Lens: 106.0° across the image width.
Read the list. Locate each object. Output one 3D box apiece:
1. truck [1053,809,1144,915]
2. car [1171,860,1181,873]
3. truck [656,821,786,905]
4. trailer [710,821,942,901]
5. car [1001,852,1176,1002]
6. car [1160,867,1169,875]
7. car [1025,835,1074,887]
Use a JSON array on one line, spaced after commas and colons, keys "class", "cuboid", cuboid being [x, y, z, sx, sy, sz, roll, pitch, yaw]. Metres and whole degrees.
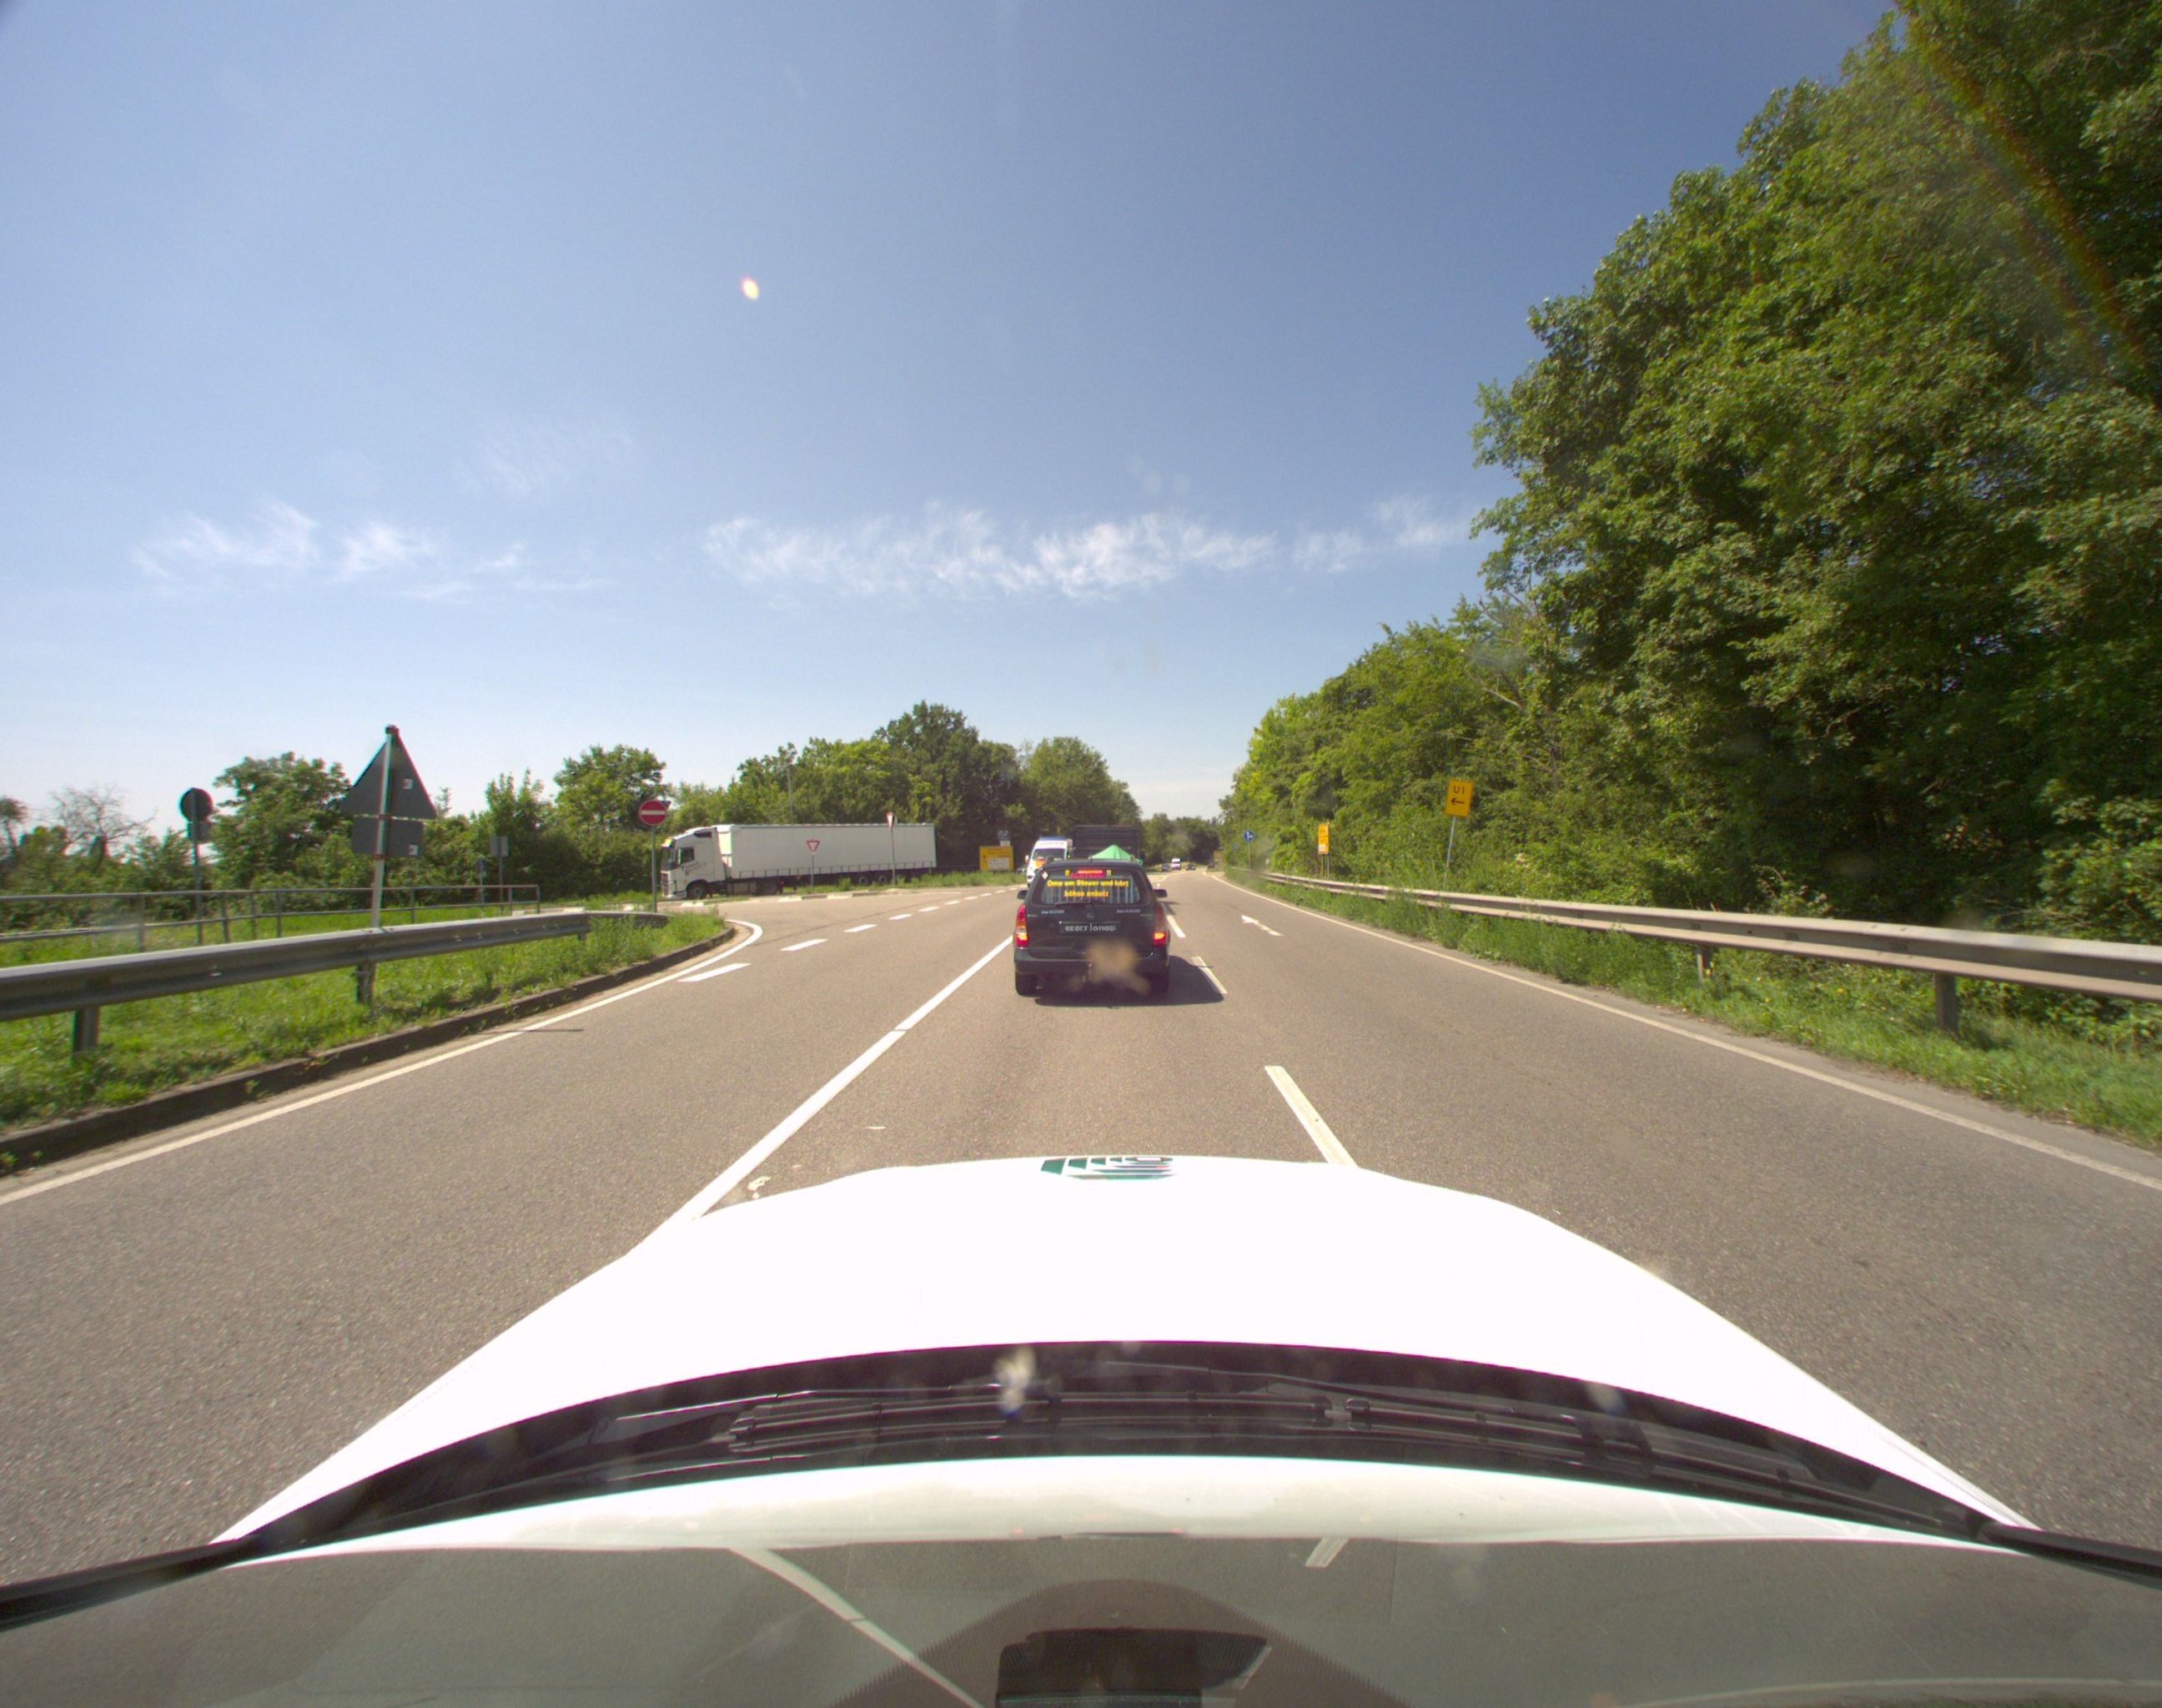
[{"class": "truck", "cuboid": [0.675, 0.207, 23.201, 2.129, 2.565, 6.648, -1, 0, 5]}, {"class": "car", "cuboid": [21.022, 2.739, 179.888, 2.094, 2.850, 6.022, -1, -1, 6]}, {"class": "truck", "cuboid": [-19.573, 0.366, 44.418, 5.954, 4.275, 2.966, -2, 1, -36]}, {"class": "trailer", "cuboid": [-14.828, 0.193, 49.348, 2.960, 4.275, 13.878, 0, 1, 41]}, {"class": "car", "cuboid": [0.172, 0.717, 9.898, 1.713, 1.457, 3.800, -1, 0, 3]}, {"class": "car", "cuboid": [15.177, 3.011, 148.562, 1.636, 1.419, 3.771, 0, -1, 5]}, {"class": "car", "cuboid": [-1.453, 0.320, 39.584, 1.982, 2.368, 5.184, 0, 0, 2]}]
